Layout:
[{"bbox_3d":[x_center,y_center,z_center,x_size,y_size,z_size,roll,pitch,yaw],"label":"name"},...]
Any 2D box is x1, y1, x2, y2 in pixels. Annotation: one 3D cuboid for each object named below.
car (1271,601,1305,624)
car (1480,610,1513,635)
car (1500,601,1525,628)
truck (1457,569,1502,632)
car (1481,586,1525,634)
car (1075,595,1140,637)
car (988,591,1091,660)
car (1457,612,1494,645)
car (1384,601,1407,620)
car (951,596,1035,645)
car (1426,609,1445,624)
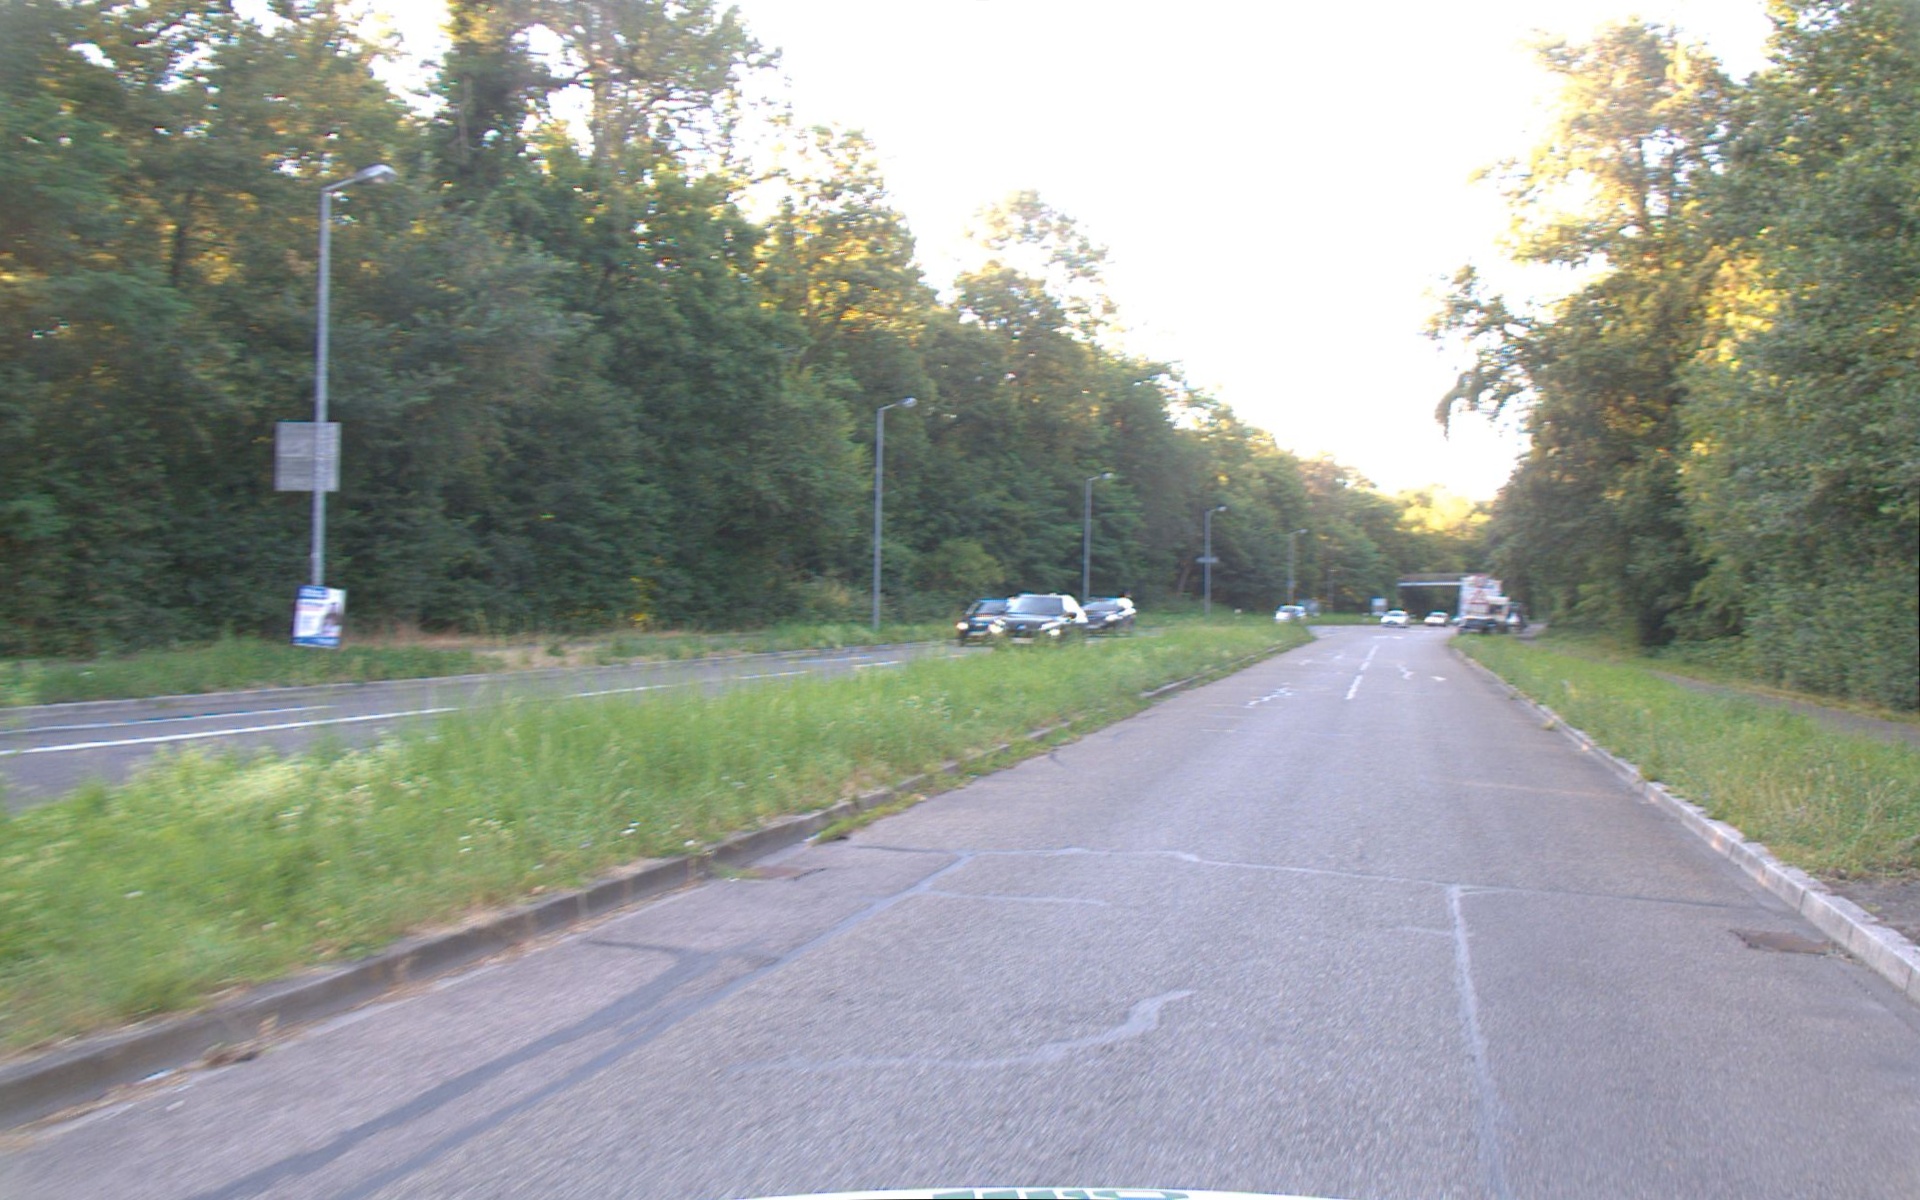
[{"bbox_3d":[22.960,0.865,115.795,1.951,1.483,3.812,1,-2,17],"label":"car"},{"bbox_3d":[32.586,1.369,100.511,1.662,1.430,4.078,2,0,16],"label":"car"},{"bbox_3d":[53.998,1.461,161.568,1.953,2.452,5.823,1,-2,22],"label":"car"},{"bbox_3d":[36.193,0.084,114.992,2.602,4.097,9.725,2,0,19],"label":"truck"},{"bbox_3d":[34.998,0.626,106.770,2.358,2.907,5.936,2,0,16],"label":"car"},{"bbox_3d":[6.183,0.651,68.821,1.951,1.656,4.655,0,0,15],"label":"car"},{"bbox_3d":[2.094,0.632,42.331,1.775,1.656,4.454,0,0,15],"label":"car"},{"bbox_3d":[25.588,1.403,82.071,1.629,1.429,3.944,4,1,18],"label":"car"},{"bbox_3d":[38.821,0.977,147.384,1.797,1.534,3.939,1,-2,18],"label":"car"},{"bbox_3d":[1.116,0.642,53.524,1.784,1.506,4.236,0,0,15],"label":"car"},{"bbox_3d":[49.244,1.698,171.195,1.680,1.471,4.174,2,0,19],"label":"car"}]
